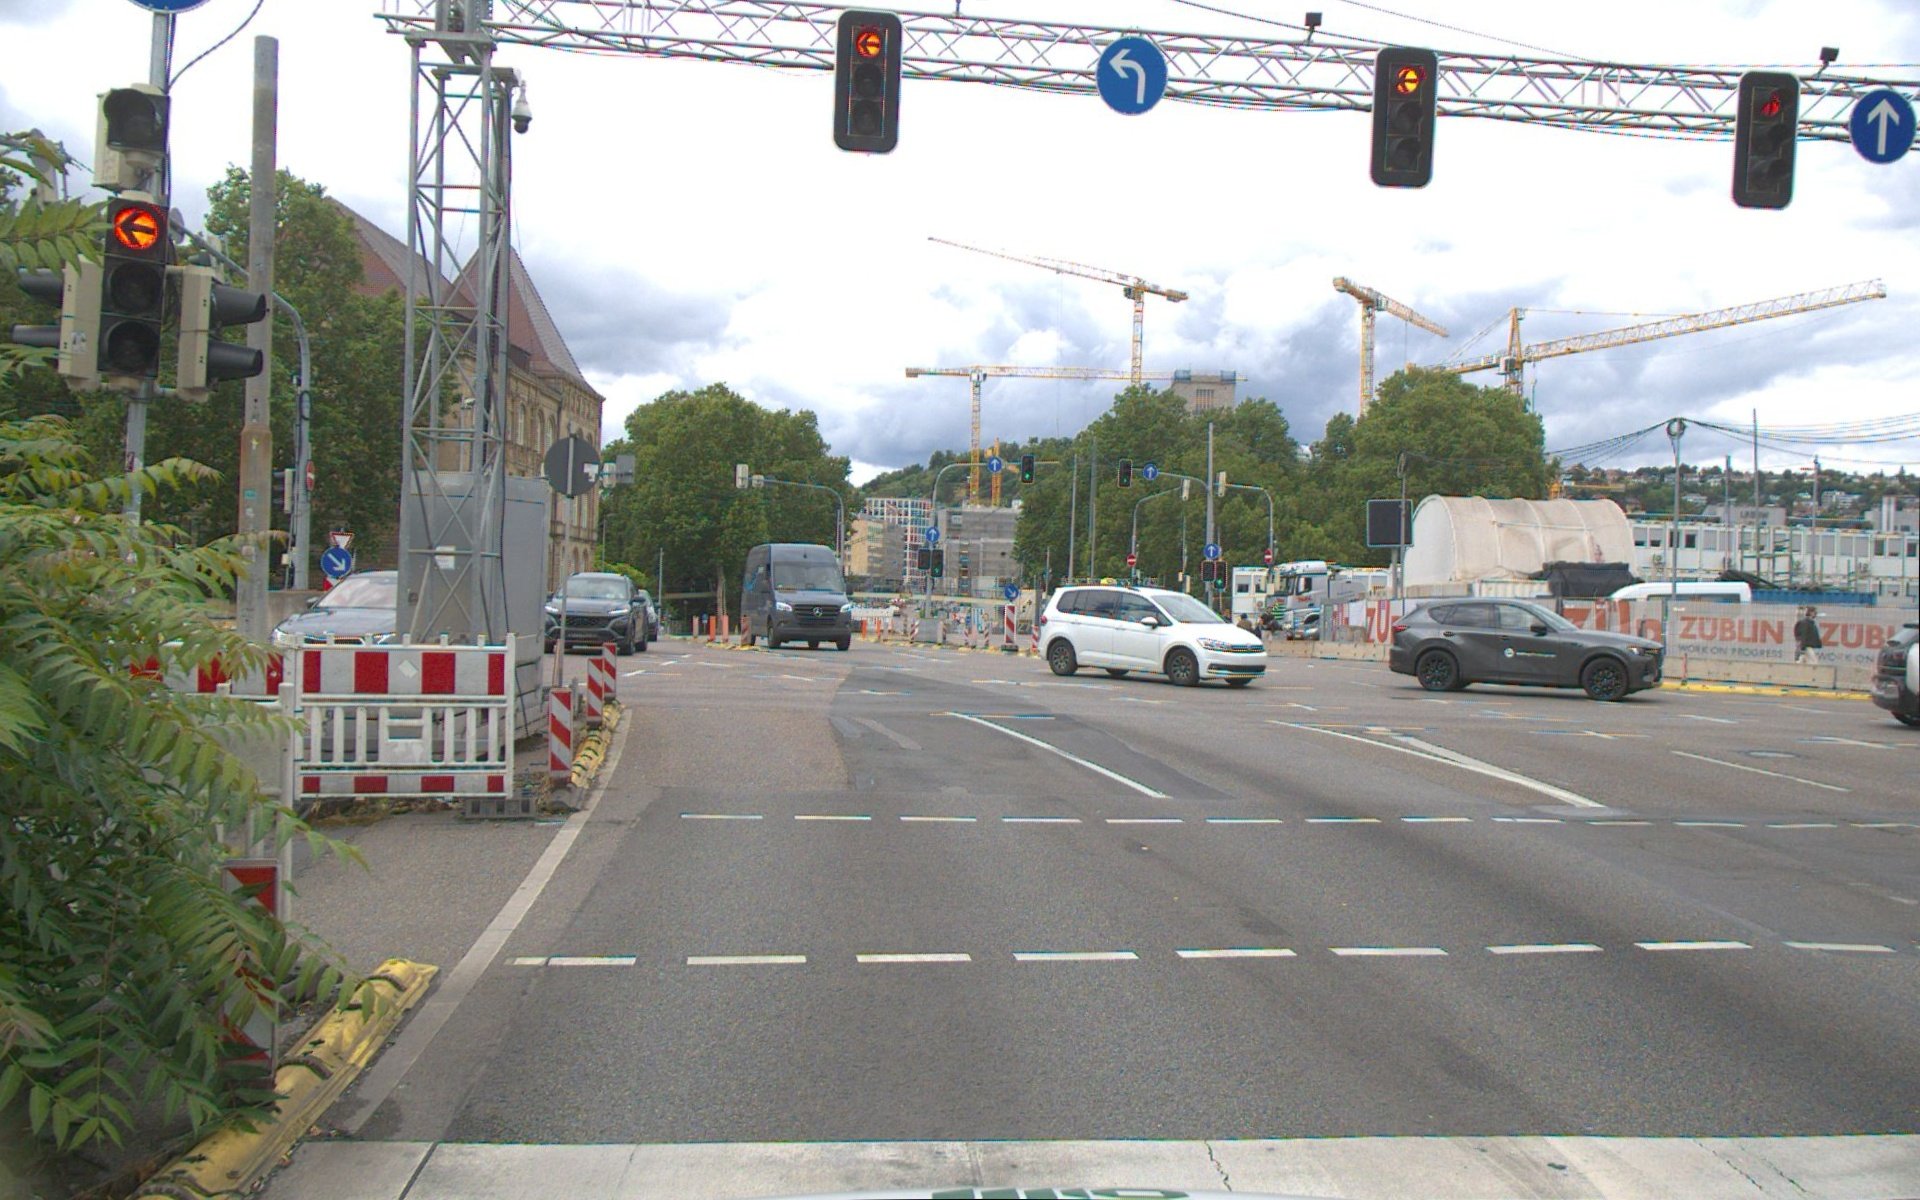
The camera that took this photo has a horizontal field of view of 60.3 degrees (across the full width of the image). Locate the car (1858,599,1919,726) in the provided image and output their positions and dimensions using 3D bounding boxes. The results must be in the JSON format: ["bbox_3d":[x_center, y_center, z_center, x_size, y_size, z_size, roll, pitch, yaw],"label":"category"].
[{"bbox_3d":[14.753,0.903,22.659,3.967,1.697,1.801,2,0,16],"label":"car"}]

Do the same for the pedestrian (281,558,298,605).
[{"bbox_3d":[-29.622,-0.829,73.031,0.523,2.049,0.421,2,0,-45],"label":"pedestrian"}]

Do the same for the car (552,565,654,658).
[{"bbox_3d":[-7.200,0.189,33.336,1.845,1.699,4.431,2,1,-13],"label":"car"}]

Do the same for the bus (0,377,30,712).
[{"bbox_3d":[-10.593,-0.528,11.547,2.787,3.168,9.124,2,0,1],"label":"bus"}]

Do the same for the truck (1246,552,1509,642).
[{"bbox_3d":[20.878,-0.122,82.558,12.837,4.111,3.927,1,0,-21],"label":"truck"}]

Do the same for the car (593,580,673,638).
[{"bbox_3d":[-9.344,0.232,47.504,1.673,1.540,4.285,2,0,-4],"label":"car"}]

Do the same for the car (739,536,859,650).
[{"bbox_3d":[-4.172,-0.205,41.931,2.023,2.639,5.990,1,0,-15],"label":"car"}]

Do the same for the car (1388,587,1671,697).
[{"bbox_3d":[10.144,0.697,29.527,4.508,1.699,1.881,2,1,29],"label":"car"}]

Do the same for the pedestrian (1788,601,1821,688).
[{"bbox_3d":[20.192,1.059,39.553,0.638,2.049,0.517,1,0,24],"label":"pedestrian"}]

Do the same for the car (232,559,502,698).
[{"bbox_3d":[-7.221,0.293,20.657,1.840,1.498,4.443,2,1,-2],"label":"car"}]

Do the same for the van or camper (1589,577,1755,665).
[{"bbox_3d":[20.646,0.590,48.150,4.123,2.398,2.002,2,0,14],"label":"van or camper"}]

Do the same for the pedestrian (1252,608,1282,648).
[{"bbox_3d":[11.197,1.016,60.258,0.782,1.402,0.903,2,0,-10],"label":"pedestrian"}]

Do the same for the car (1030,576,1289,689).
[{"bbox_3d":[3.463,0.524,29.289,1.869,1.766,4.375,1,1,-43],"label":"car"}]
